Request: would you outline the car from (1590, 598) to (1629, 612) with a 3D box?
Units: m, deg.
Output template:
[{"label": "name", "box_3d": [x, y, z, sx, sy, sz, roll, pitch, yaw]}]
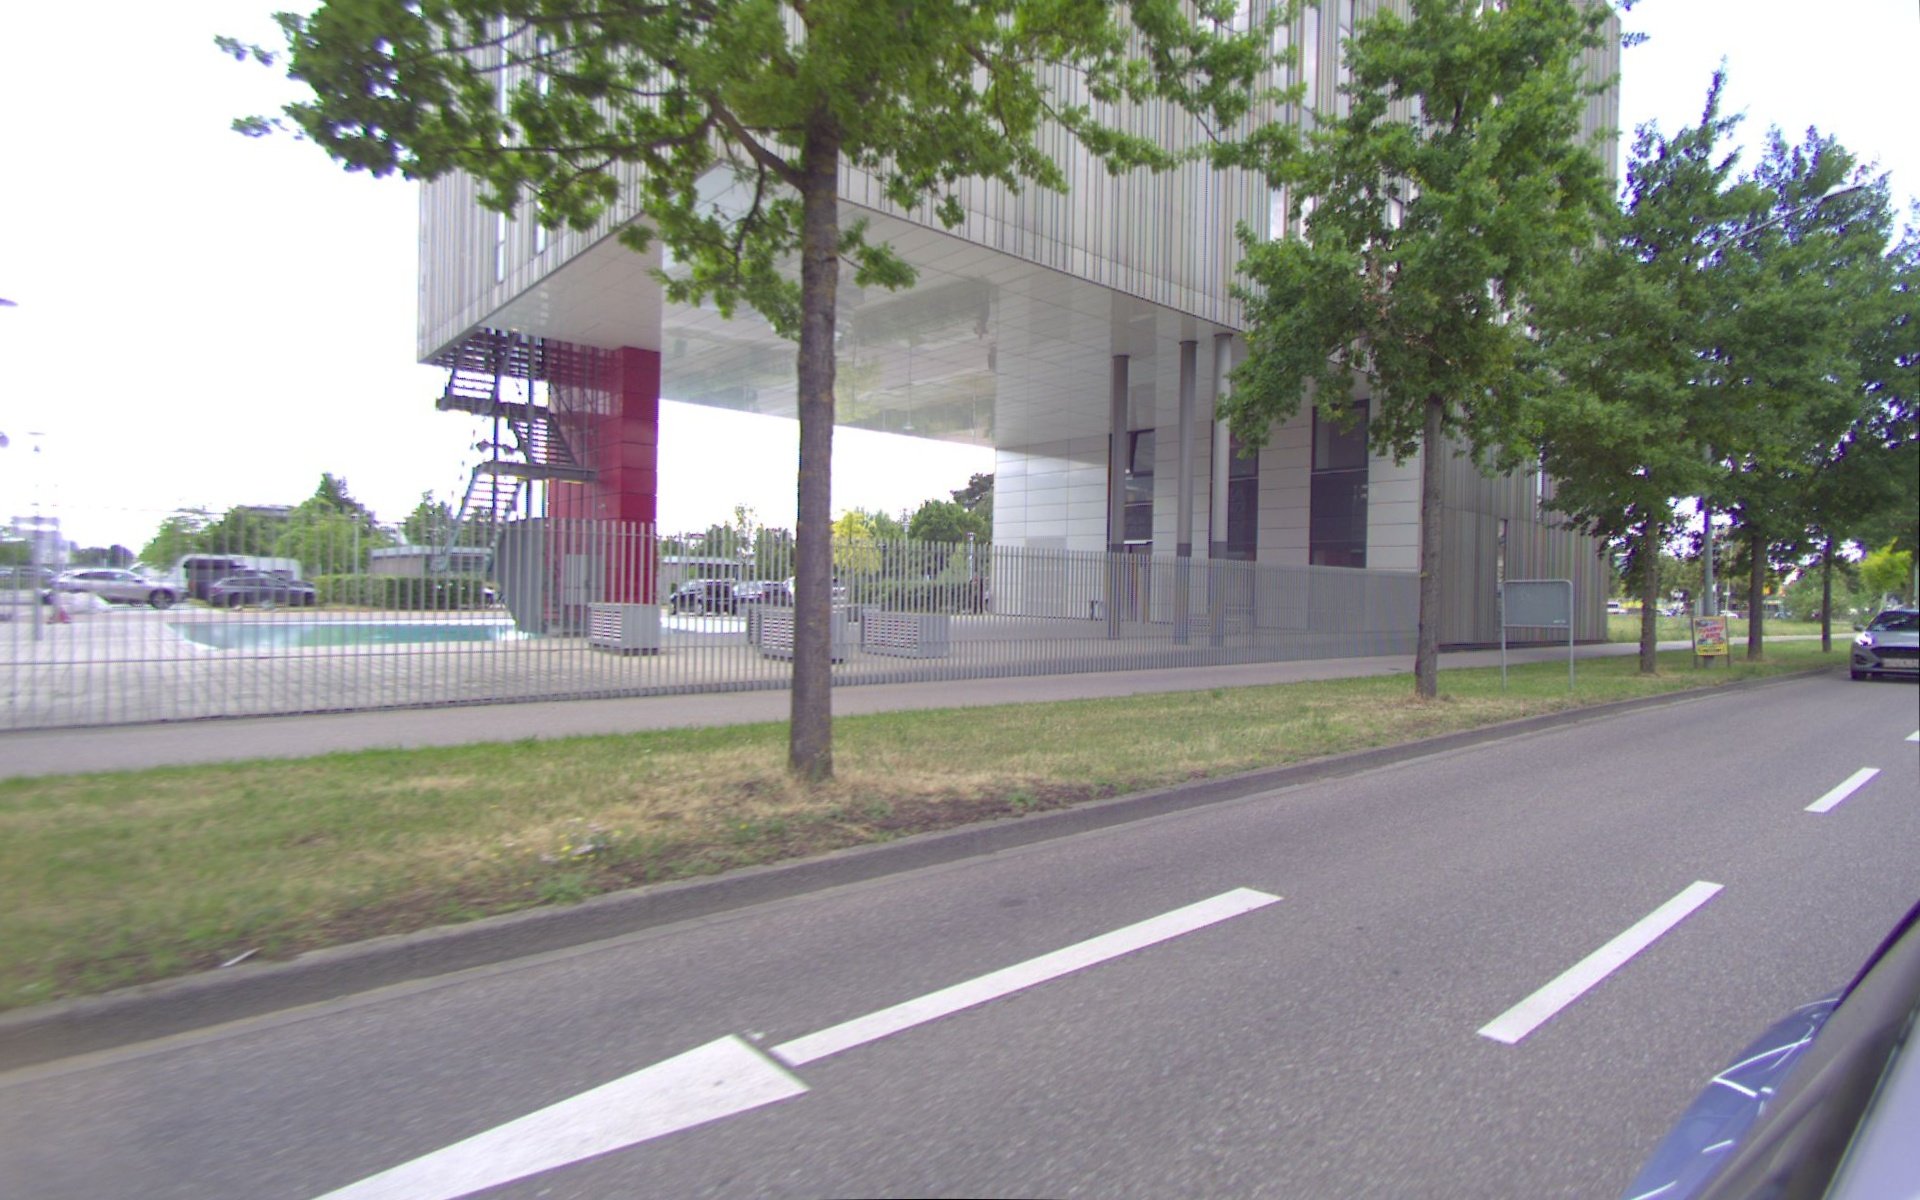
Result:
[{"label": "car", "box_3d": [101.996, 0.832, 158.918, 5.044, 2.175, 2.153, 1, 0, -11]}]

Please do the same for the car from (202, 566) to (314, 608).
[{"label": "car", "box_3d": [-33.377, -0.630, 48.145, 4.237, 1.896, 1.997, -1, 0, -40]}]

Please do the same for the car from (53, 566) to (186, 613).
[{"label": "car", "box_3d": [-35.403, -0.455, 42.743, 4.237, 1.896, 1.997, -1, 0, -40]}]

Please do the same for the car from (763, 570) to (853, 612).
[{"label": "car", "box_3d": [-6.862, -0.390, 45.365, 1.965, 1.825, 4.306, -1, 0, -41]}]

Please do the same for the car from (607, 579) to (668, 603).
[{"label": "car", "box_3d": [-22.443, -0.658, 70.373, 3.607, 1.610, 1.869, -1, 0, -40]}]

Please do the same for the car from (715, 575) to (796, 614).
[{"label": "car", "box_3d": [-8.758, -0.238, 43.215, 1.839, 1.610, 3.665, -1, 0, -41]}]

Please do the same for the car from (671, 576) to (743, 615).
[{"label": "car", "box_3d": [-10.475, -0.183, 41.820, 1.640, 1.573, 3.311, -1, 0, -40]}]

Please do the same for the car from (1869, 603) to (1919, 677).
[{"label": "car", "box_3d": [21.124, 0.827, 22.074, 4.025, 1.489, 1.671, 0, 1, -44]}]

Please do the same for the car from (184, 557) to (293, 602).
[{"label": "car", "box_3d": [-35.355, -0.966, 49.621, 4.237, 2.111, 1.997, 0, -1, -40]}]
